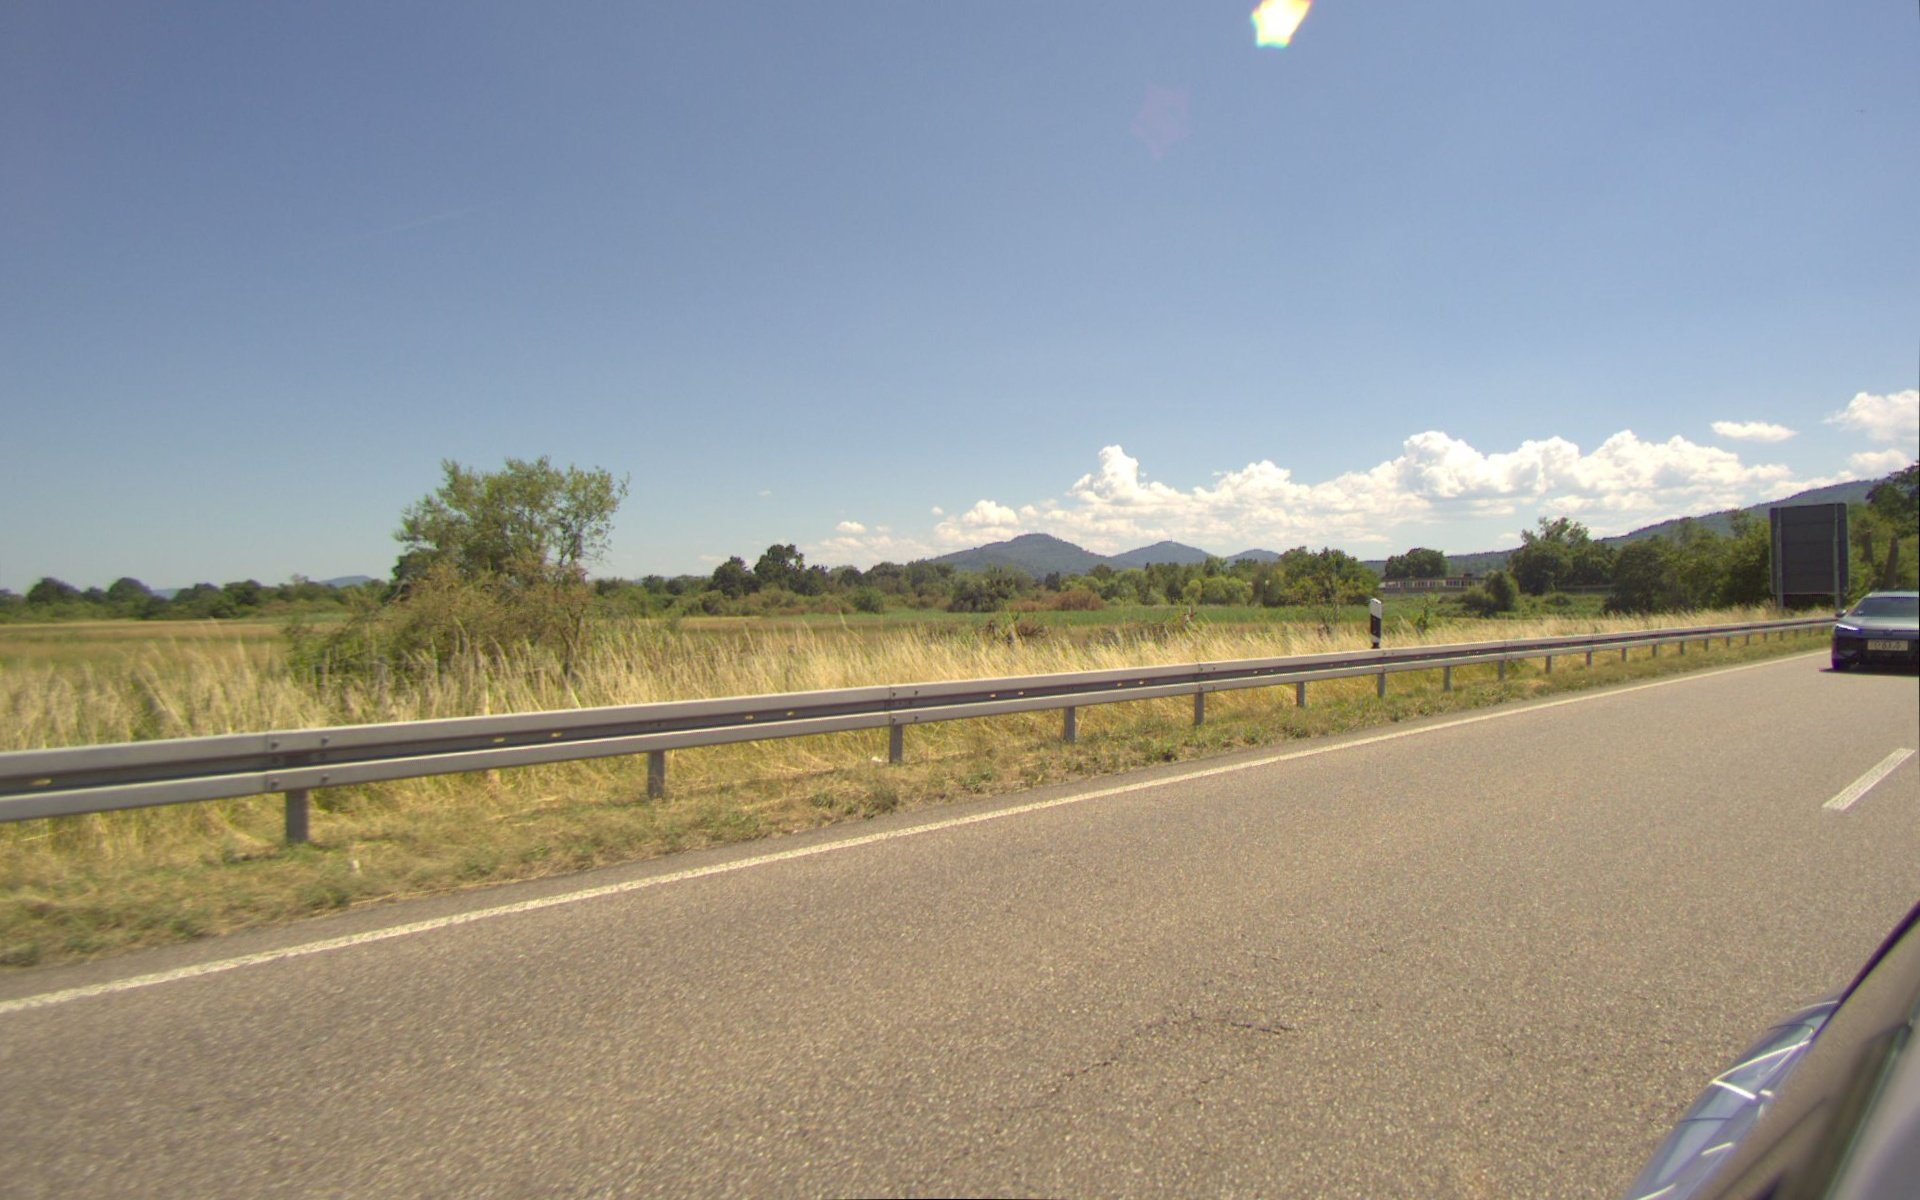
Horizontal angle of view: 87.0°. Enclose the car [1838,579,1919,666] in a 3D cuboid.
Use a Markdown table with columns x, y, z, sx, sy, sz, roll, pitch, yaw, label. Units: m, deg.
| x | y | z | sx | sy | sz | roll | pitch | yaw | label |
| --- | --- | --- | --- | --- | --- | --- | --- | --- | --- |
| 18.731 | 0.398 | 19.802 | 3.949 | 1.573 | 1.788 | 0 | 1 | -41 | car |
